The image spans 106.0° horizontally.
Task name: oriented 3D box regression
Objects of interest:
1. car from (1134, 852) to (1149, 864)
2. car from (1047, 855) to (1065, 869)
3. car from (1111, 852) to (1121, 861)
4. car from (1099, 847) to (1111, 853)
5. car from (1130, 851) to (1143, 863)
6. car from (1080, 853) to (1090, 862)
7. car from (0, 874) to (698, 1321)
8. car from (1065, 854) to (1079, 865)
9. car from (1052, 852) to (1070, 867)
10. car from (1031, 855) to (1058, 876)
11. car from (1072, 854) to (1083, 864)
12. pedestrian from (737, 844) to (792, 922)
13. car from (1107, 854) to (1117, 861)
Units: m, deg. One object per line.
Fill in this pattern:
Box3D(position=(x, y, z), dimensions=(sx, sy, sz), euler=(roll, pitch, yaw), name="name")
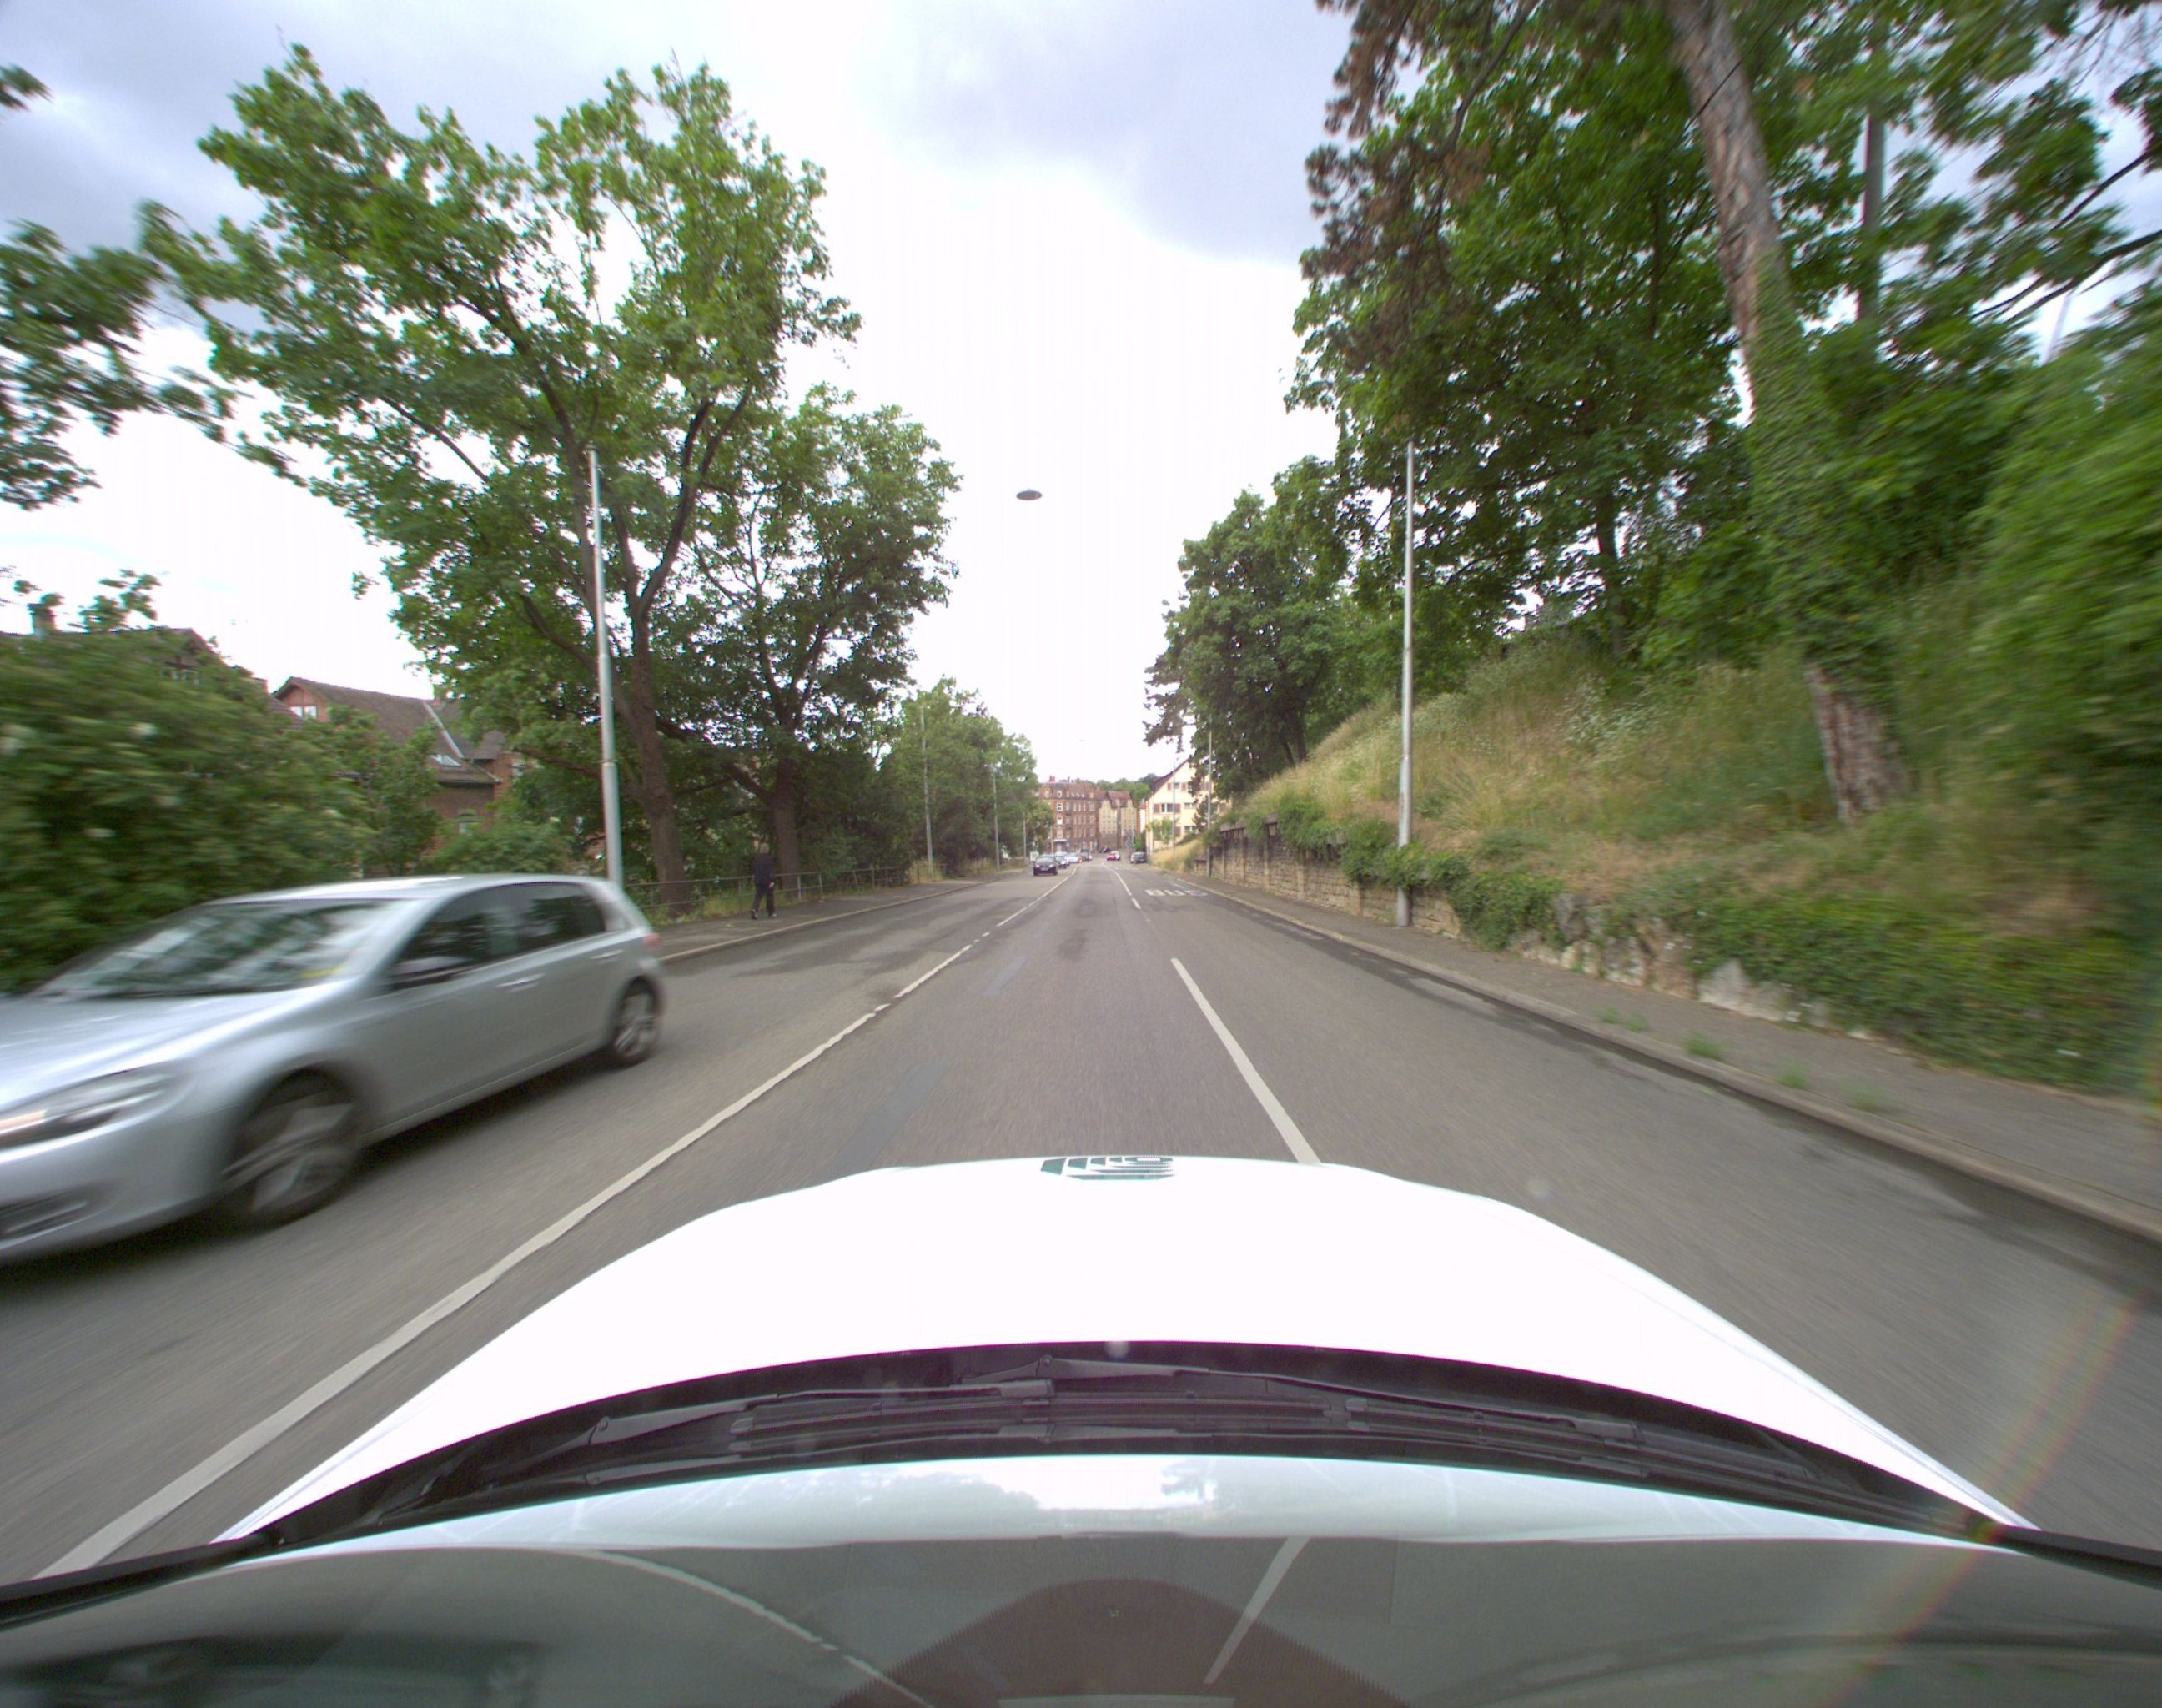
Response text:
Box3D(position=(8.087, 0.509, 108.449), dimensions=(1.676, 1.451, 4.001), euler=(-5, -1, 1), name="car")
Box3D(position=(-2.548, 0.821, 84.477), dimensions=(1.707, 1.427, 4.139), euler=(-2, 0, 0), name="car")
Box3D(position=(7.458, 0.501, 175.584), dimensions=(1.900, 1.884, 4.006), euler=(0, 0, 6), name="car")
Box3D(position=(6.736, -1.181, 225.233), dimensions=(1.965, 1.575, 4.398), euler=(-3, 0, 21), name="car")
Box3D(position=(8.002, 0.425, 117.227), dimensions=(1.786, 1.451, 4.724), euler=(-4, 0, 5), name="car")
Box3D(position=(0.829, 0.691, 155.839), dimensions=(1.777, 1.746, 4.430), euler=(-2, 0, 1), name="car")
Box3D(position=(-4.223, 0.905, 4.856), dimensions=(1.787, 1.427, 4.144), euler=(-2, 0, 1), name="car")
Box3D(position=(-1.309, 0.840, 119.632), dimensions=(1.778, 1.574, 4.281), euler=(-2, 0, 1), name="car")
Box3D(position=(-2.405, 0.665, 99.817), dimensions=(1.988, 1.683, 4.665), euler=(-2, 0, 1), name="car")
Box3D(position=(-2.646, 0.813, 59.447), dimensions=(1.662, 1.447, 3.690), euler=(-2, 0, 2), name="car")
Box3D(position=(-0.561, 0.840, 136.237), dimensions=(1.778, 1.459, 4.429), euler=(-2, 0, 1), name="car")
Box3D(position=(-7.450, 0.655, 19.201), dimensions=(0.786, 1.774, 1.208), euler=(2, 0, -1), name="pedestrian")
Box3D(position=(6.407, 0.749, 168.855), dimensions=(1.807, 1.430, 4.006), euler=(0, 0, 6), name="car")
